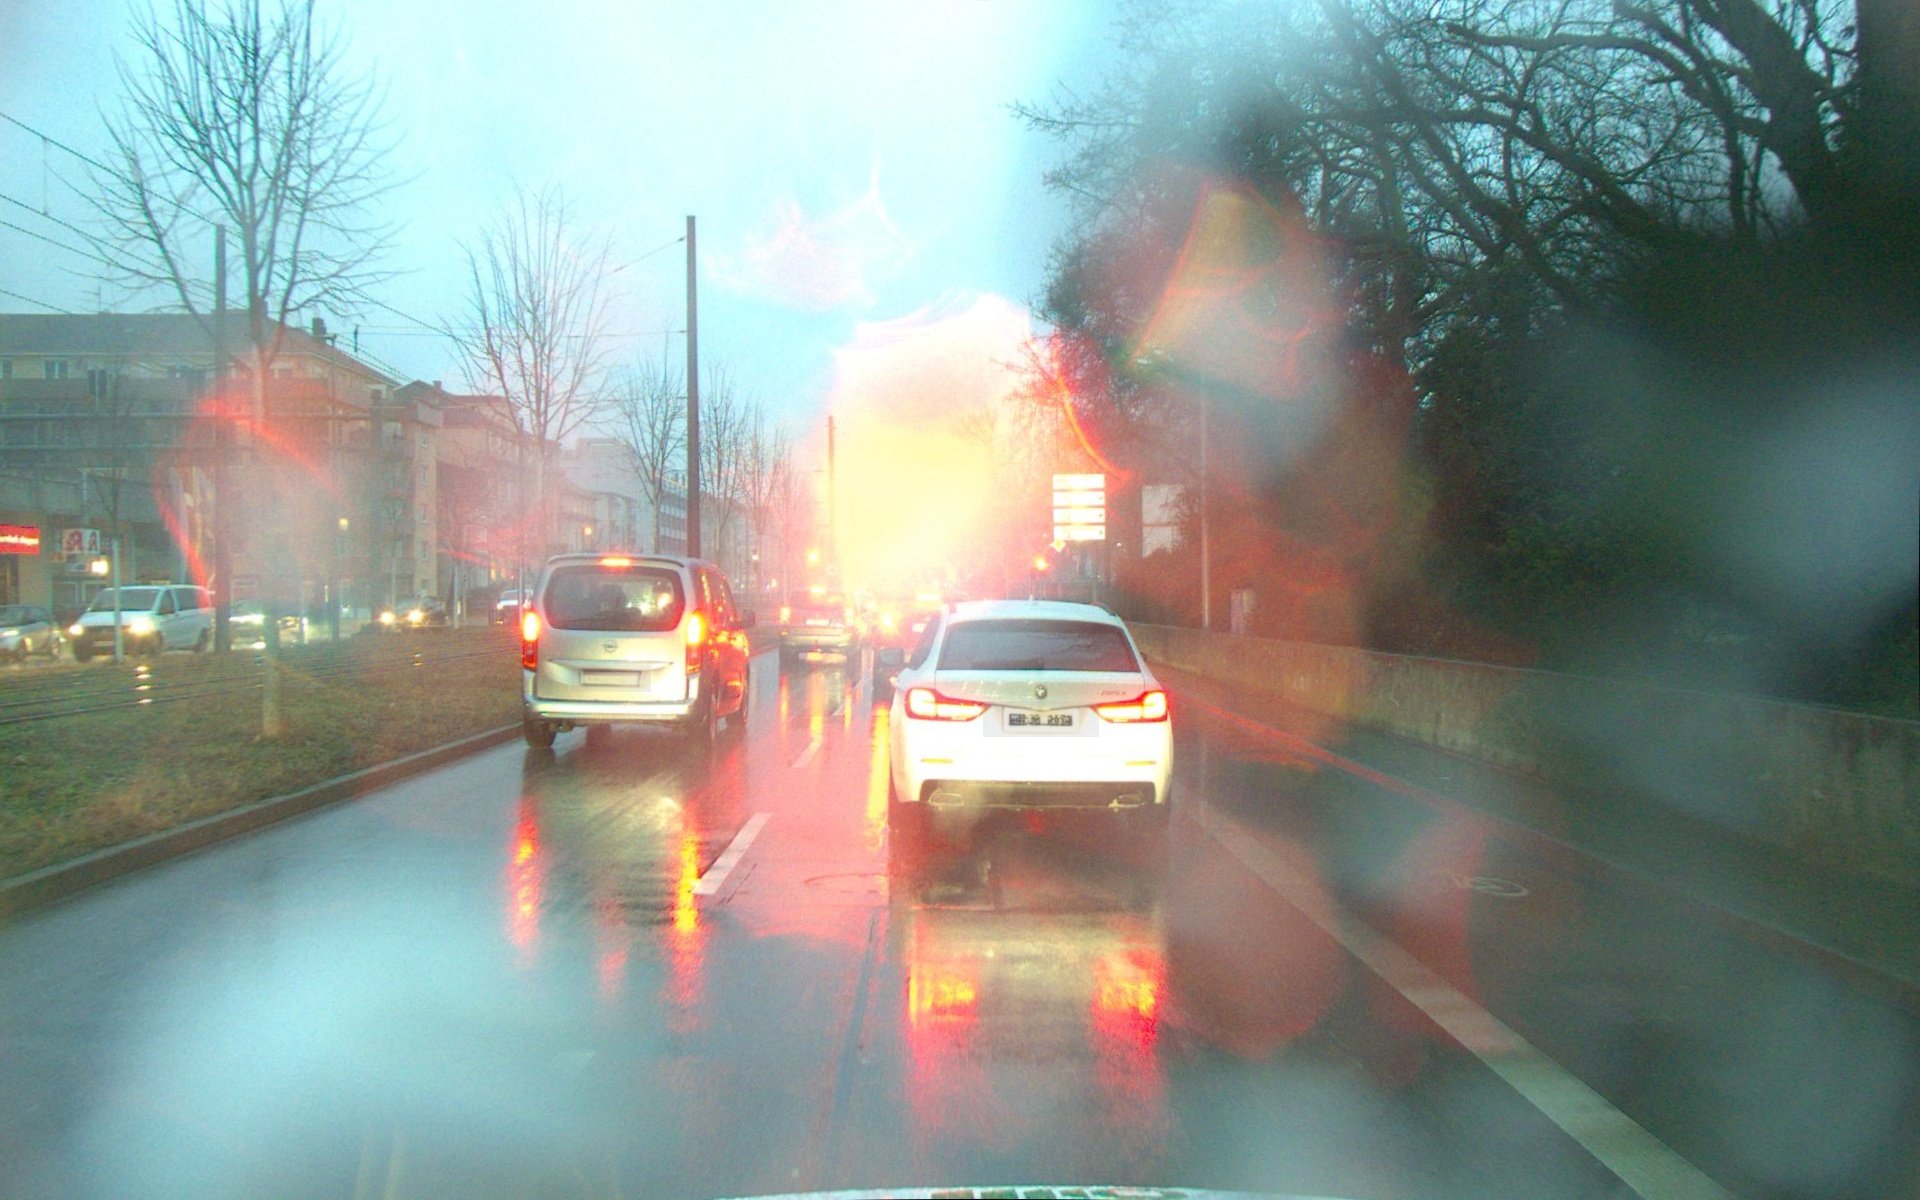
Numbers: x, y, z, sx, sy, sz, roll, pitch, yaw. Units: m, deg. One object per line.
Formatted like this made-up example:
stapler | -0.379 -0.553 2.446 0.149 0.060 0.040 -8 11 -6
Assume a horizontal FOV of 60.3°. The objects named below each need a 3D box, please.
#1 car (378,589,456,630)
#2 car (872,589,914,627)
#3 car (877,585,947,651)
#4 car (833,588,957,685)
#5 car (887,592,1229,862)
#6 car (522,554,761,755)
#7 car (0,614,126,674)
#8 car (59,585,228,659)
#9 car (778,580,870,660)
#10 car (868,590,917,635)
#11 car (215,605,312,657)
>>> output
car | -24.196 0.392 73.903 1.857 1.749 4.916 0 0 0
car | -3.022 0.334 75.095 1.770 1.674 3.999 1 0 -1
car | -1.262 0.450 44.672 1.770 1.674 3.999 1 0 -1
car | -1.025 0.547 27.403 1.896 1.483 4.162 0 0 -1
car | 0.538 0.722 11.596 1.958 1.534 4.162 0 0 -1
car | -3.103 0.490 16.990 1.757 1.766 4.534 1 0 -3
car | -25.490 1.193 46.330 1.857 1.542 4.791 0 0 -1
car | -20.687 0.504 42.170 1.857 1.749 5.117 -1 0 -1
car | -3.003 0.412 37.243 1.770 1.674 3.999 1 0 -1
car | -2.592 0.458 64.226 1.770 1.674 3.999 1 0 -1
car | -26.641 1.151 63.424 1.857 1.844 4.529 0 0 -1
